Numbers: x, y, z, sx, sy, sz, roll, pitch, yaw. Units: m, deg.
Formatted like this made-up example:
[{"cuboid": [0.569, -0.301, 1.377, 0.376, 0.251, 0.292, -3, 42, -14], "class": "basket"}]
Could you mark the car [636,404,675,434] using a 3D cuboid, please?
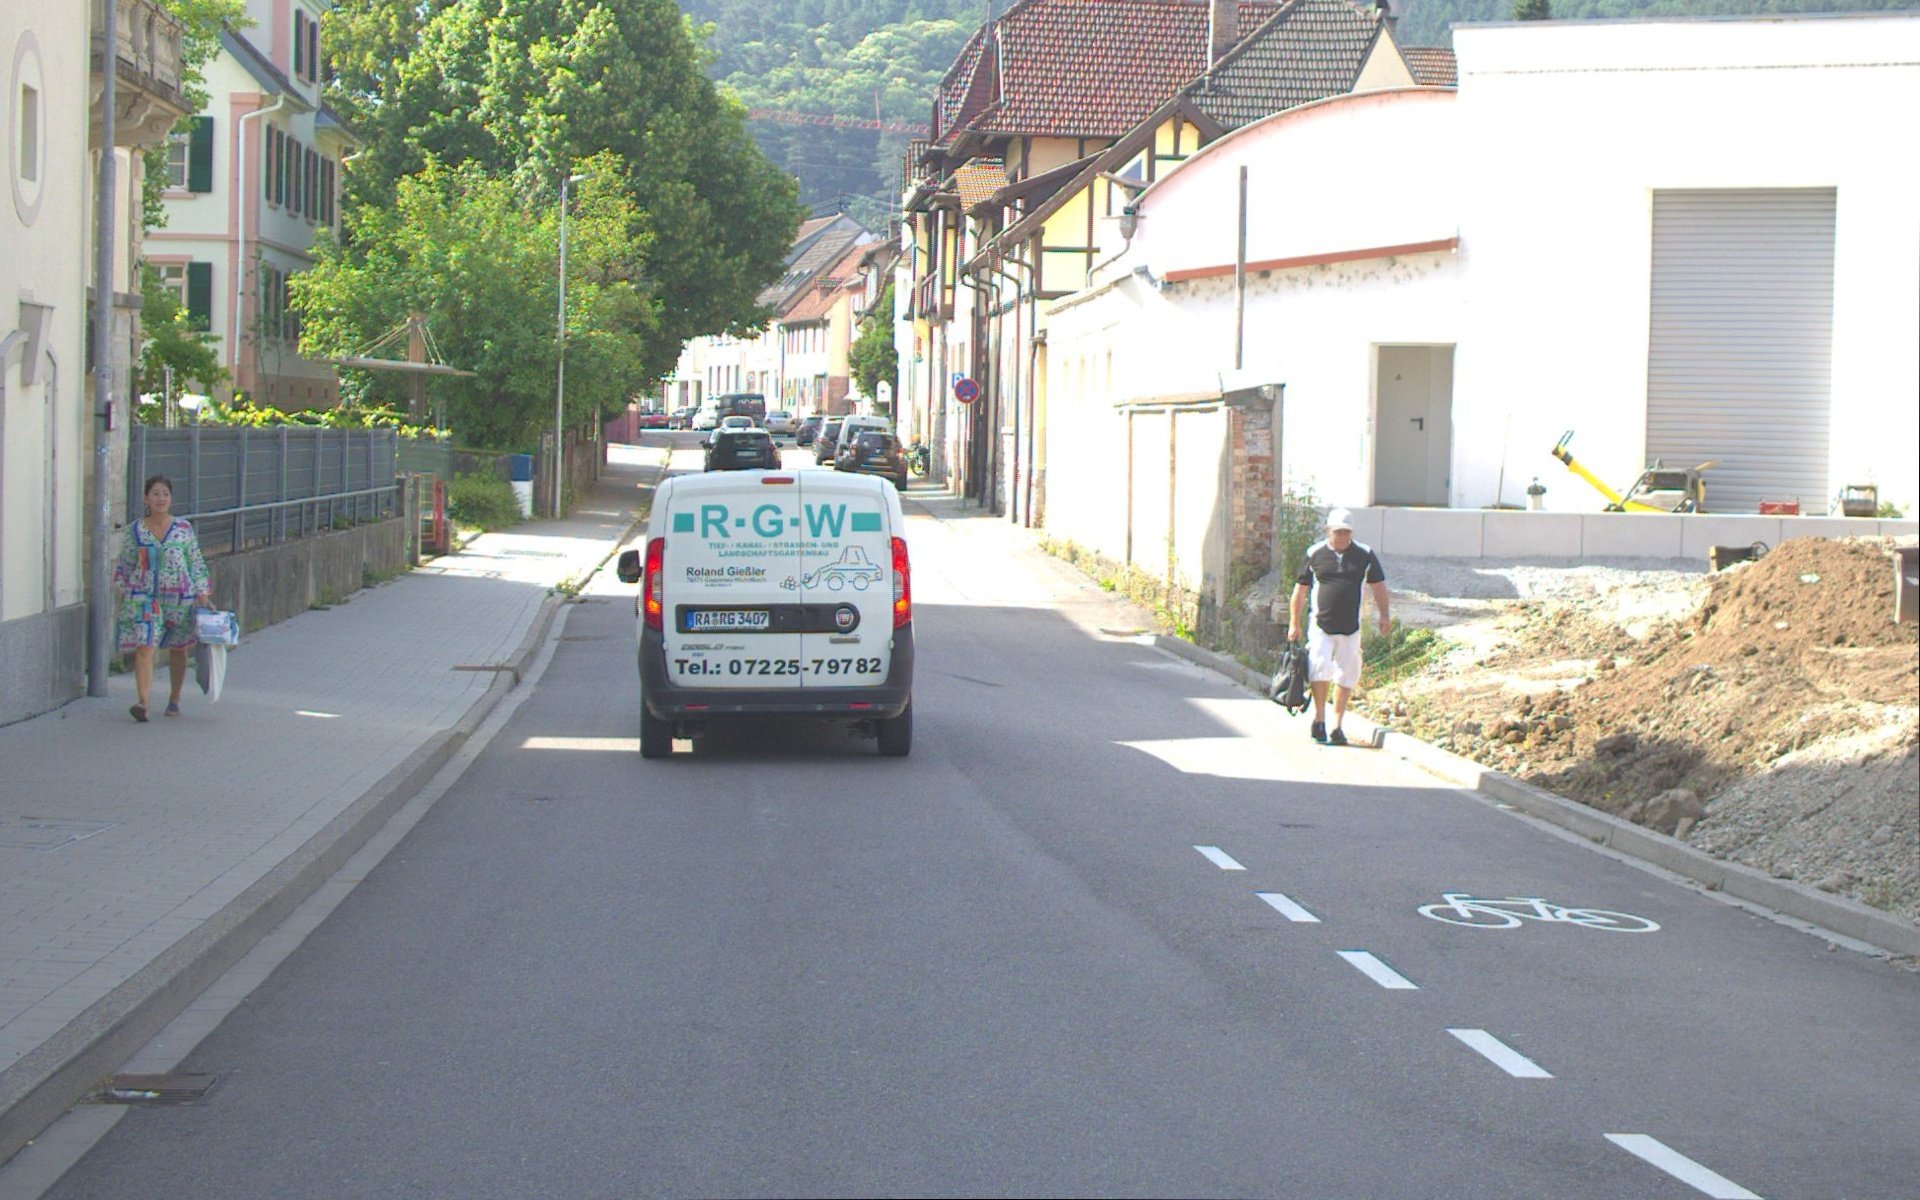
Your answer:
[{"cuboid": [-19.316, -11.500, 217.814, 1.771, 1.792, 4.002, 1, 3, -15], "class": "car"}]

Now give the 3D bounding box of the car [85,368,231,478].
[{"cuboid": [-14.511, -3.236, 62.439, 1.822, 1.766, 4.684, 5, 3, -6], "class": "car"}]

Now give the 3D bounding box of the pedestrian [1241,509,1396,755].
[{"cuboid": [2.557, 0.217, 24.587, 0.888, 1.677, 0.718, 3, 2, -3], "class": "pedestrian"}]

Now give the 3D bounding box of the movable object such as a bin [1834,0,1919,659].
[{"cuboid": [5.926, -1.455, 14.432, 2.295, 3.840, 7.799, 4, 2, 0], "class": "movable object such as a bin"}]

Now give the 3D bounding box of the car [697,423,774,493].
[{"cuboid": [-5.847, -3.693, 89.183, 1.810, 1.591, 3.928, 4, 3, -5], "class": "car"}]

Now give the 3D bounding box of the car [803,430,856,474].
[{"cuboid": [-4.751, -5.392, 124.654, 1.669, 1.502, 4.001, 1, 3, -5], "class": "car"}]

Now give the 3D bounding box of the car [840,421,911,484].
[{"cuboid": [-2.438, -4.227, 98.172, 1.810, 1.591, 3.928, 4, 3, -3], "class": "car"}]

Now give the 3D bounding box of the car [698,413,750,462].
[{"cuboid": [-14.062, -9.711, 204.771, 2.874, 2.825, 6.126, 1, 3, -5], "class": "car"}]

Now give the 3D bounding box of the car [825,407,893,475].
[{"cuboid": [-3.196, -5.020, 108.089, 1.871, 2.006, 4.001, 2, 3, -4], "class": "car"}]

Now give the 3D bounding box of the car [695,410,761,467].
[{"cuboid": [-7.291, -5.079, 107.753, 1.810, 1.591, 3.928, 4, 3, -6], "class": "car"}]

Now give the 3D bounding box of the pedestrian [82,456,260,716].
[{"cuboid": [-5.116, -0.103, 22.331, 0.958, 1.625, 0.758, 3, 2, -4], "class": "pedestrian"}]

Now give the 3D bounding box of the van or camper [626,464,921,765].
[{"cuboid": [-1.322, 0.009, 23.448, 1.828, 1.838, 4.189, 0, 3, -5], "class": "van or camper"}]
